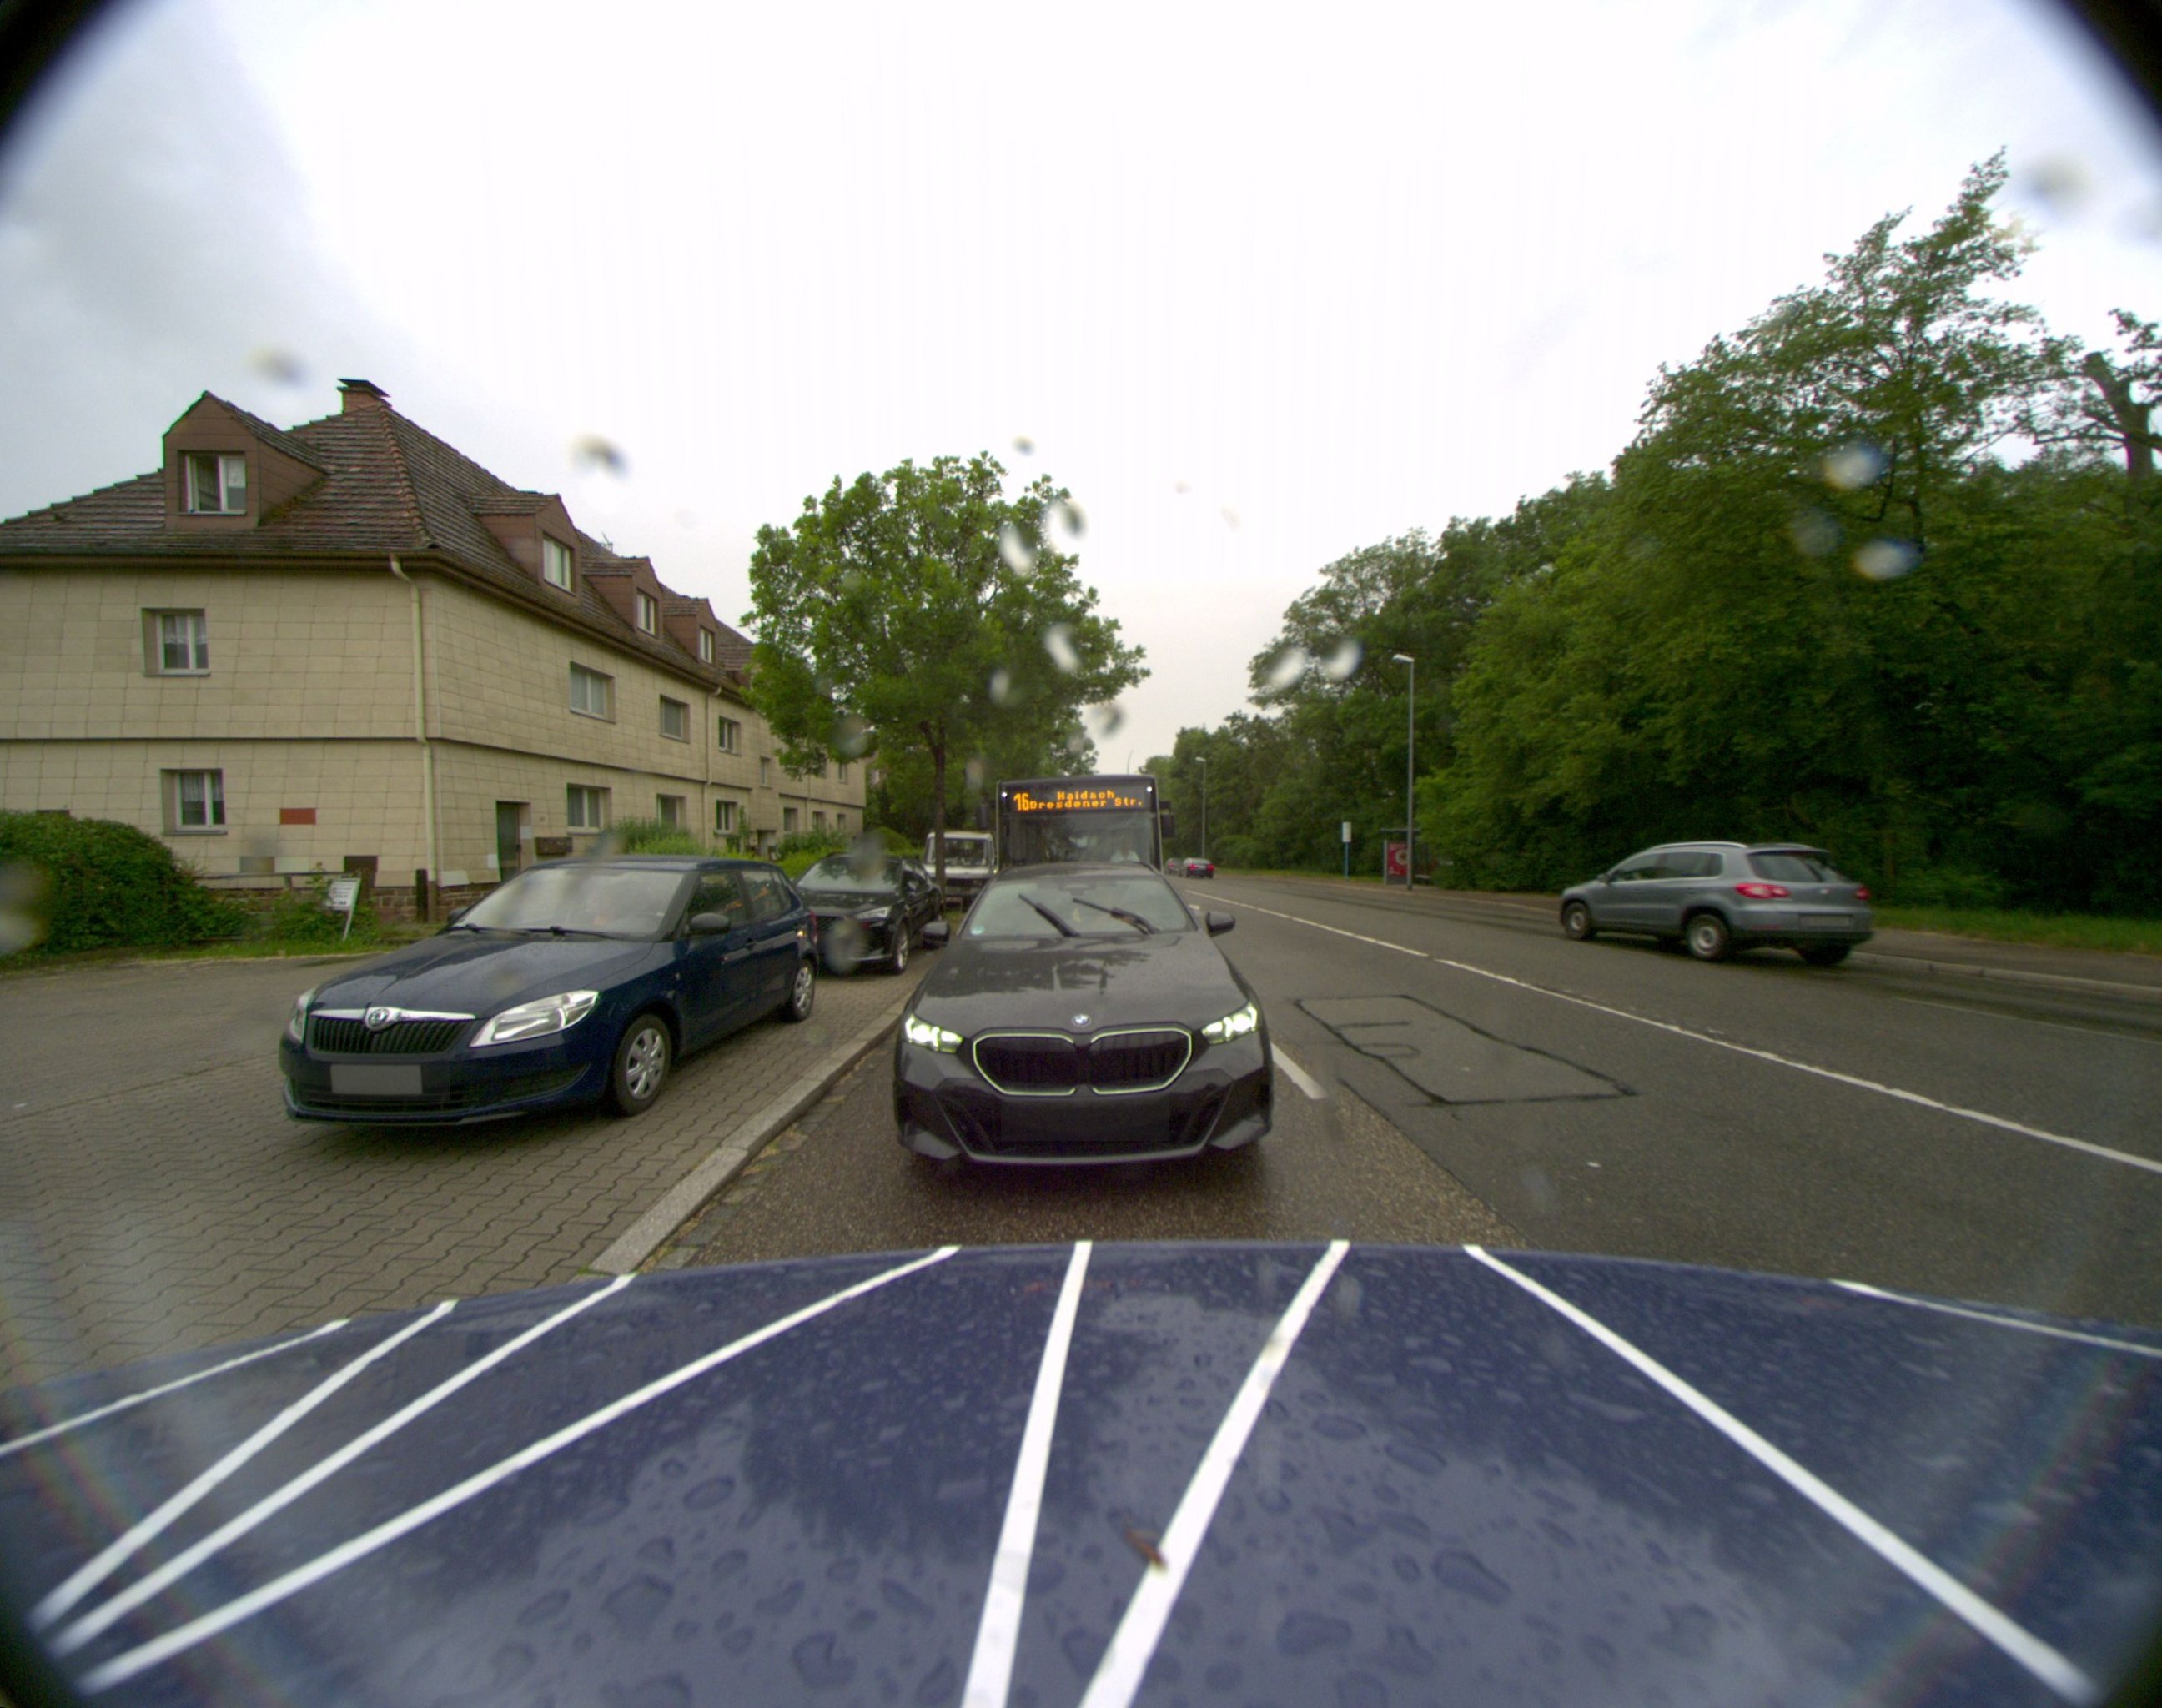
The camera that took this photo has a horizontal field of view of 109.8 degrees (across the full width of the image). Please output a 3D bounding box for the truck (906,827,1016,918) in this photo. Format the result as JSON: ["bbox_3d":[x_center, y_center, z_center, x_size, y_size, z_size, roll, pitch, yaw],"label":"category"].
[{"bbox_3d":[-3.136,0.452,21.207,1.998,2.184,5.756,0,0,2],"label":"truck"}]

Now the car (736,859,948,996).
[{"bbox_3d":[-3.068,0.848,10.626,1.720,1.455,3.999,1,1,-1],"label":"car"}]

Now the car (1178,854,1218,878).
[{"bbox_3d":[8.352,0.835,54.636,1.915,1.445,4.947,3,1,-1],"label":"car"}]

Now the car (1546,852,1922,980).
[{"bbox_3d":[9.418,0.764,11.575,1.913,1.581,4.316,0,0,-2],"label":"car"}]

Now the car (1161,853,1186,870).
[{"bbox_3d":[8.153,0.656,67.026,1.598,1.420,3.905,1,0,-1],"label":"car"}]

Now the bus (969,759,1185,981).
[{"bbox_3d":[0.072,0.166,14.823,2.767,2.858,9.403,-2,1,2],"label":"bus"}]

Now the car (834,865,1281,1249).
[{"bbox_3d":[-0.076,0.926,5.490,1.882,1.520,4.316,-3,0,1],"label":"car"}]

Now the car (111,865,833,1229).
[{"bbox_3d":[-3.259,0.856,5.242,1.720,1.416,3.999,1,1,1],"label":"car"}]
